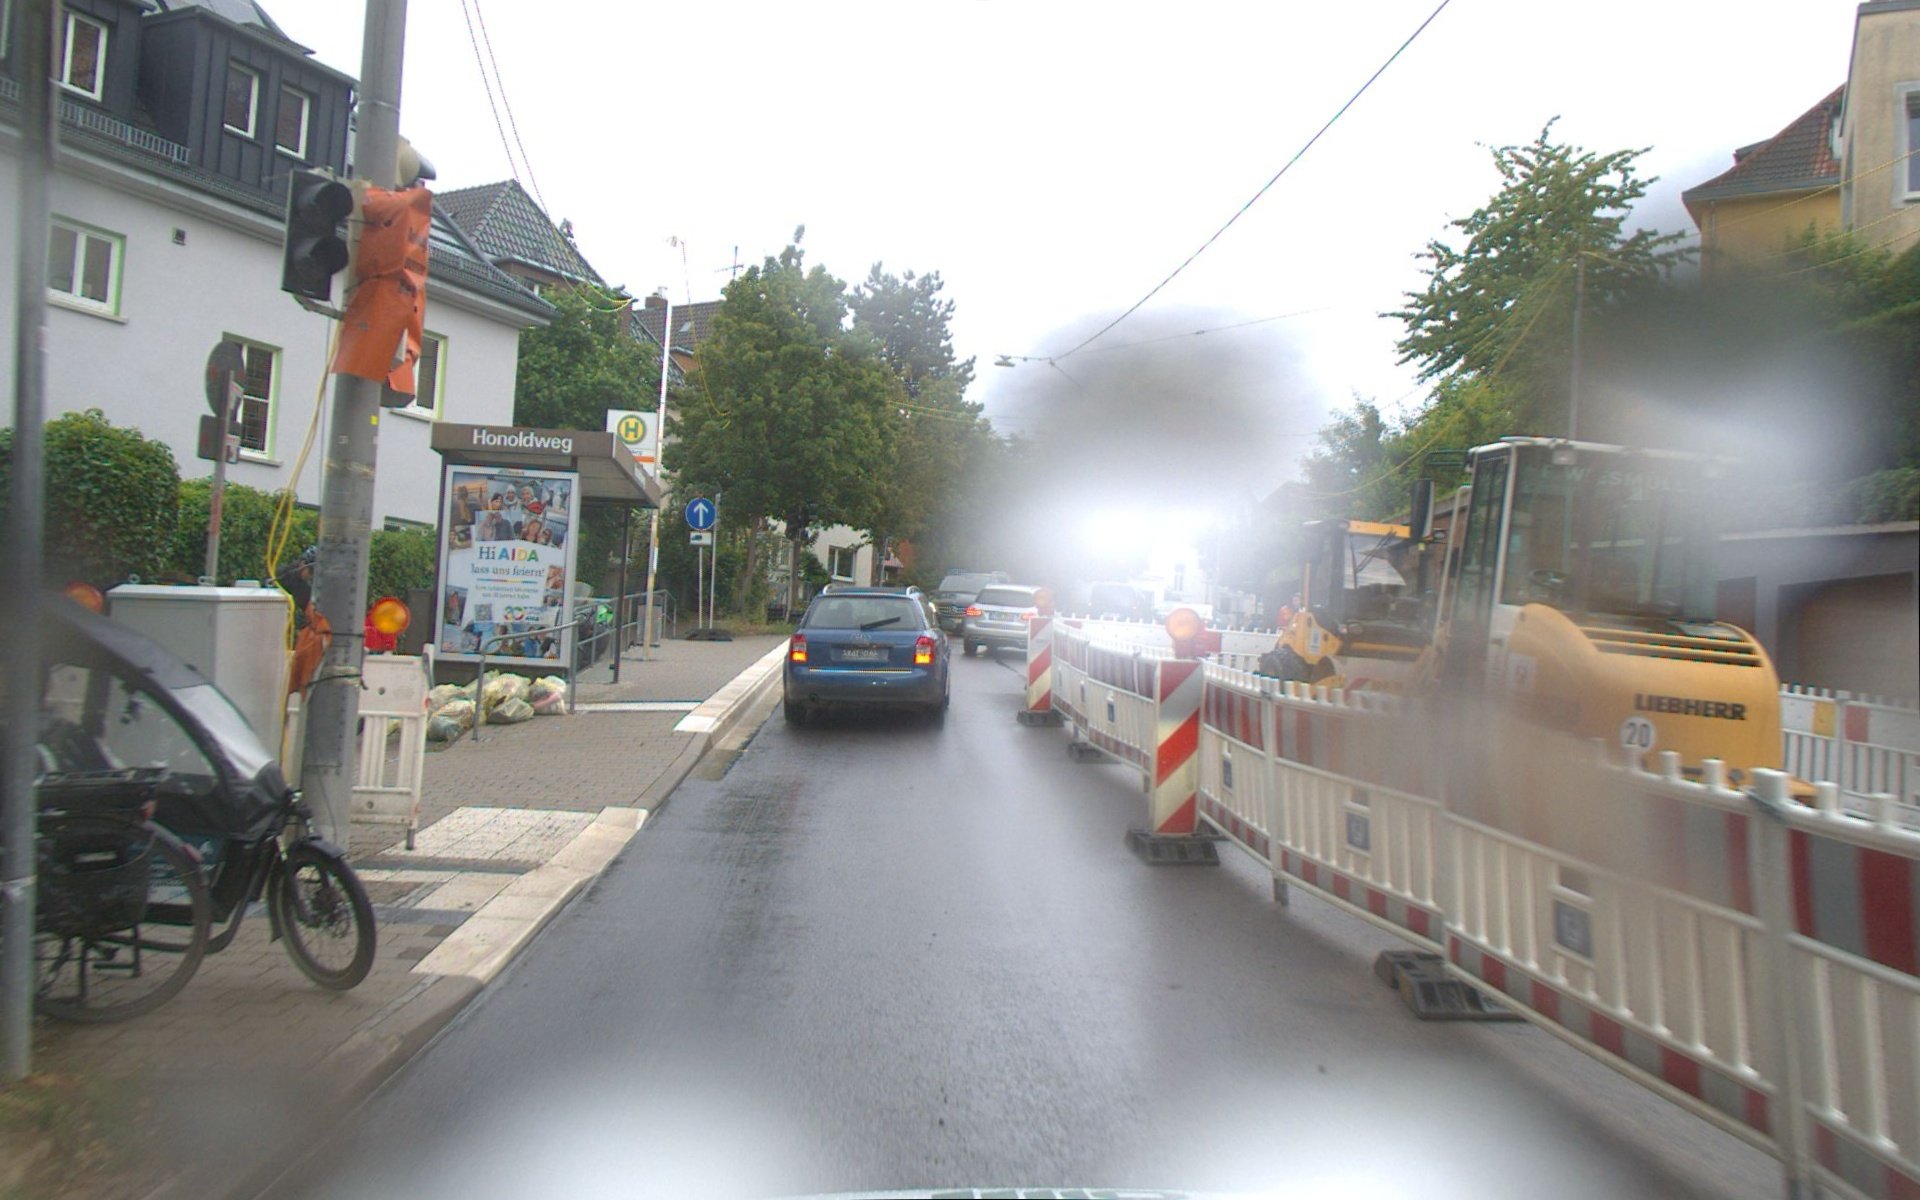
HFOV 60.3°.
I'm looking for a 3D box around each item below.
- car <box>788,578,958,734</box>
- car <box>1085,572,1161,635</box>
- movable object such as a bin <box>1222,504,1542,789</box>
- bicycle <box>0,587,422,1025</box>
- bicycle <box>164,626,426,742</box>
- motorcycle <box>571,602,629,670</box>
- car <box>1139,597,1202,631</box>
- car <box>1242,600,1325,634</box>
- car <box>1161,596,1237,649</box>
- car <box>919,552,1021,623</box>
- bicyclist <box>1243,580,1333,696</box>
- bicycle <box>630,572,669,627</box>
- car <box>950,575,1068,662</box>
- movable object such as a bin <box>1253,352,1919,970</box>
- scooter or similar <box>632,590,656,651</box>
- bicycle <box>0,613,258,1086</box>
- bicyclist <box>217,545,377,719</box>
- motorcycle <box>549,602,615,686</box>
[{"bbox_3d":[-0.926,0.537,18.496,1.698,1.492,3.999,0,2,-2],"label":"car"},{"bbox_3d":[5.024,0.071,50.549,1.696,1.799,4.239,1,2,14],"label":"car"},{"bbox_3d":[4.853,0.429,20.086,2.045,2.887,5.674,2,1,-3],"label":"movable object such as a bin"},{"bbox_3d":[-3.052,0.652,5.635,2.188,1.385,0.807,1,0,-10],"label":"bicycle"},{"bbox_3d":[-5.852,0.722,14.648,1.832,0.948,1.098,1,0,4],"label":"bicycle"},{"bbox_3d":[-5.554,0.541,25.607,0.654,0.950,2.007,1,1,-7],"label":"motorcycle"},{"bbox_3d":[9.728,0.674,76.258,1.638,1.492,3.889,1,-1,28],"label":"car"},{"bbox_3d":[16.756,0.902,85.531,1.842,1.572,4.869,2,-1,45],"label":"car"},{"bbox_3d":[8.915,0.834,61.385,1.699,1.799,4.234,3,1,23],"label":"car"},{"bbox_3d":[0.366,-0.316,48.085,1.856,1.922,5.157,1,0,13],"label":"car"},{"bbox_3d":[5.201,0.591,26.238,1.055,1.758,0.930,3,0,-12],"label":"bicyclist"},{"bbox_3d":[-7.770,-0.032,41.480,0.481,1.293,2.273,4,1,0],"label":"bicycle"},{"bbox_3d":[1.104,0.327,35.016,1.933,1.663,4.239,0,2,9],"label":"car"},{"bbox_3d":[3.627,0.376,10.778,2.045,2.888,5.672,2,-2,-3],"label":"movable object such as a bin"},{"bbox_3d":[-5.892,0.374,30.862,0.317,1.099,1.094,1,0,-6],"label":"scooter or similar"},{"bbox_3d":[-3.103,0.729,5.042,1.659,1.368,0.418,3,1,-9],"label":"bicycle"},{"bbox_3d":[-5.850,0.273,14.654,0.887,1.464,1.098,1,0,4],"label":"bicyclist"},{"bbox_3d":[-5.276,0.589,23.187,0.654,1.054,2.149,1,1,-7],"label":"motorcycle"}]
